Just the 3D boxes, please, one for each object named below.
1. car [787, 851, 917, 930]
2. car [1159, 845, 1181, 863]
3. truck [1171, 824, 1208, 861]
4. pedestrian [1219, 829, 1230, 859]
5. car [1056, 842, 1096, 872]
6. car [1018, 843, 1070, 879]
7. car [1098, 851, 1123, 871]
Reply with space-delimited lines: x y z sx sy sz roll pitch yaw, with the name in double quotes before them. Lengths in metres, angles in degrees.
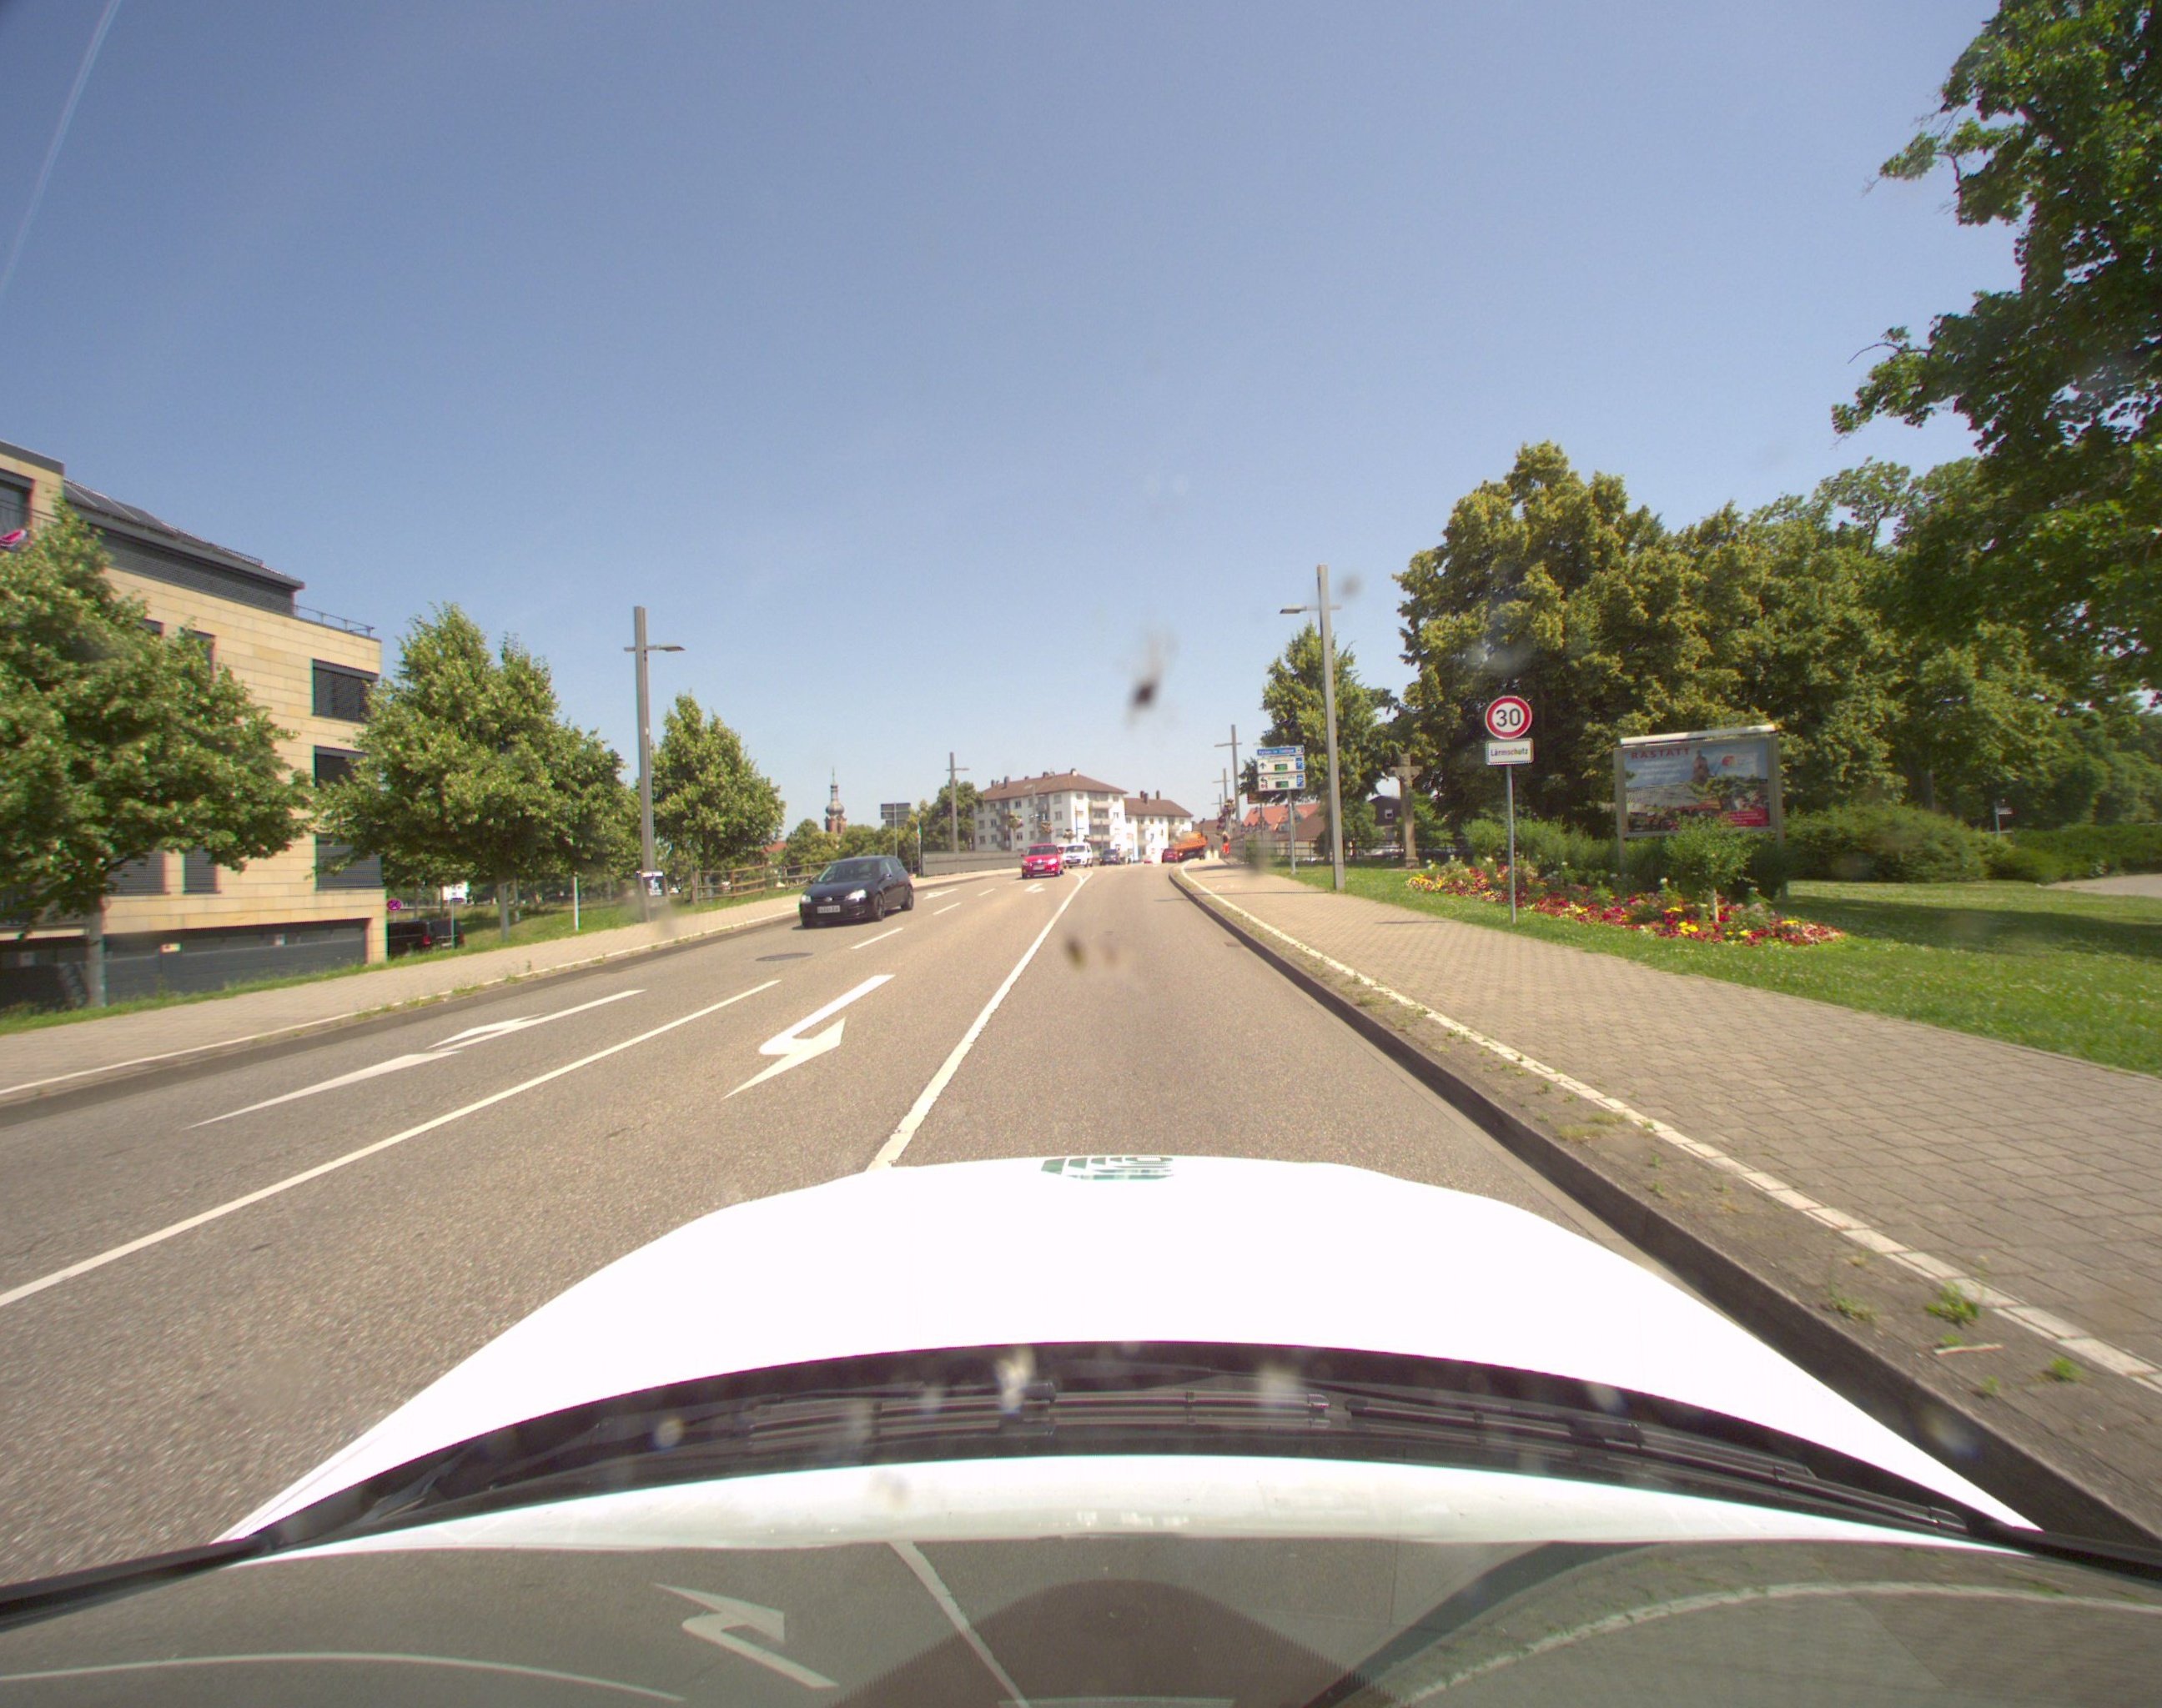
"car" -5.278 0.776 19.346 1.708 1.485 4.033 -5 1 2
"car" 8.955 0.013 81.667 1.979 1.613 4.350 -3 -1 7
"truck" 8.680 -0.860 64.652 2.590 2.691 5.838 -3 -1 9
"pedestrian" 9.616 -0.655 54.596 0.545 1.960 0.672 -3 -2 -1
"car" -0.305 0.185 57.538 1.826 1.860 4.676 -4 -1 10
"car" -1.606 0.276 36.460 1.638 1.464 3.868 -3 0 6
"car" 2.847 0.673 77.355 1.726 1.640 3.932 -5 0 9
